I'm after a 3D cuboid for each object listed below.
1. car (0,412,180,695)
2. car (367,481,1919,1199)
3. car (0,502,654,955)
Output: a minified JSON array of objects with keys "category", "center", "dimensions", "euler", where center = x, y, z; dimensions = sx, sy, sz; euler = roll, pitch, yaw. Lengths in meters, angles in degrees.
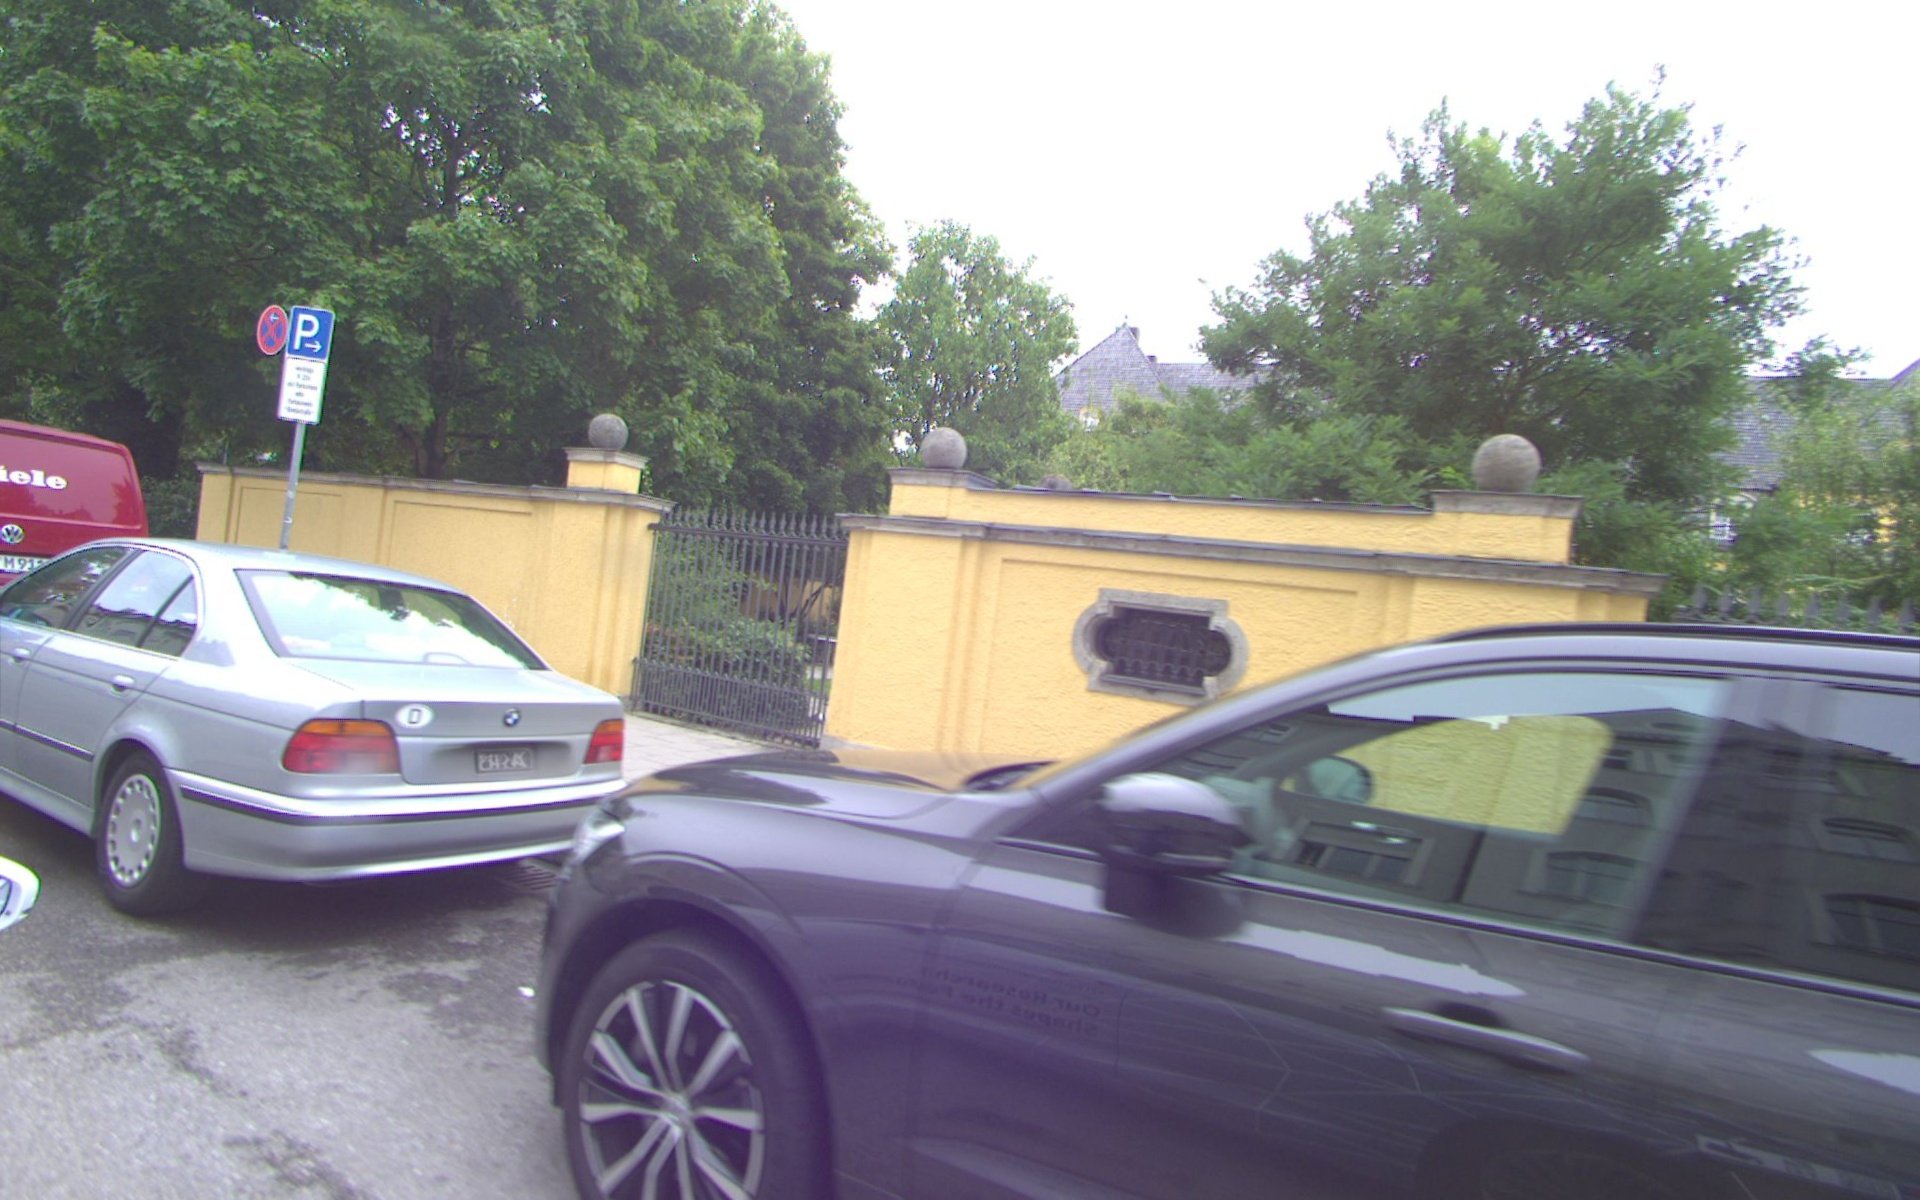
[{"category":"car","center":[-8.744,-0.562,8.291],"dimensions":[4.806,1.942,1.878],"euler":[7,-2,31]},{"category":"car","center":[1.085,0.869,2.230],"dimensions":[4.742,1.671,1.890],"euler":[7,-3,30]},{"category":"car","center":[-3.983,0.394,5.404],"dimensions":[4.294,1.465,1.890],"euler":[7,-3,29]}]
